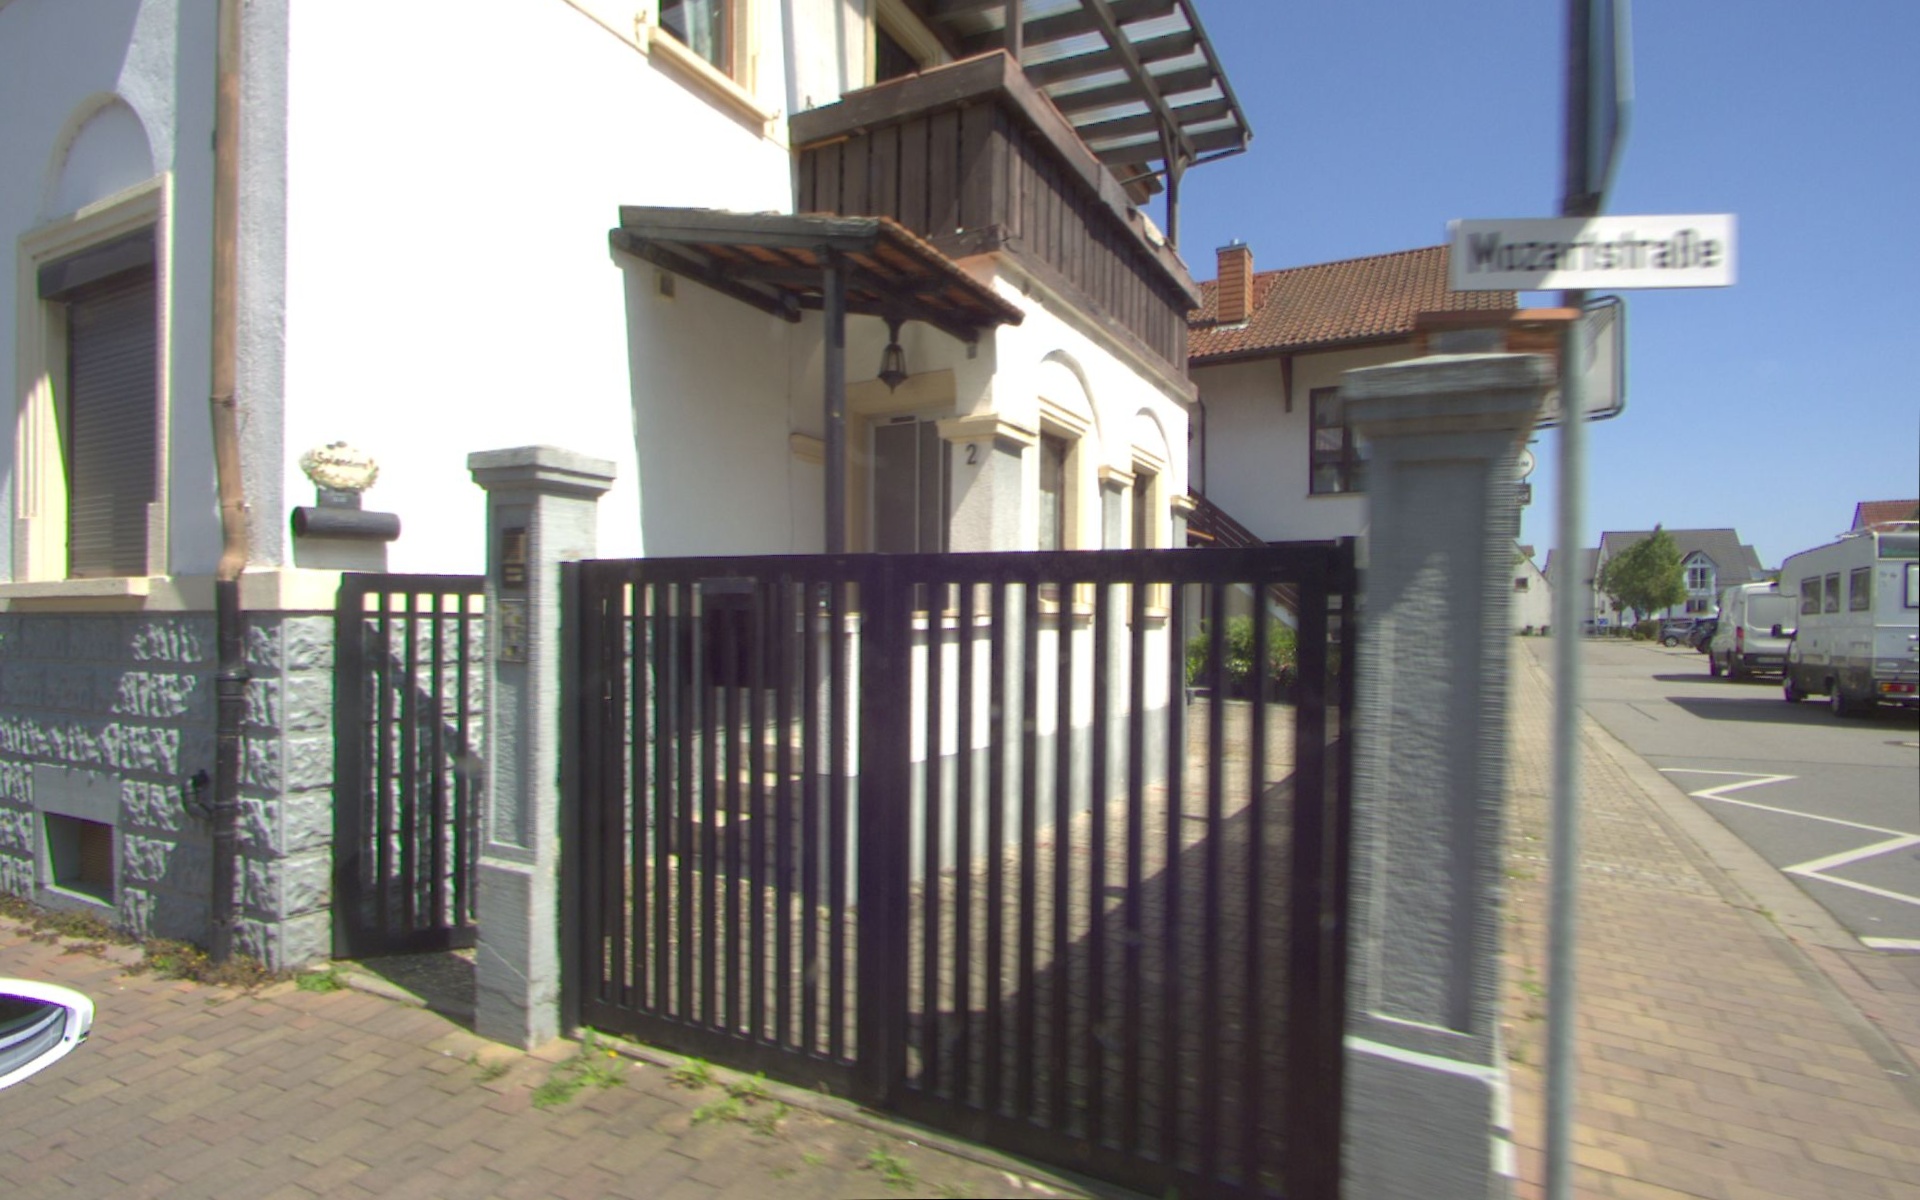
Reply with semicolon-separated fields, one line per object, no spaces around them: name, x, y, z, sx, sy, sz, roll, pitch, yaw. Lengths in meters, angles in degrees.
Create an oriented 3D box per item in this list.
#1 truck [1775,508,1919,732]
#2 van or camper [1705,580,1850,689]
truck;15.279;0.352;16.006;2.507;3.044;6.378;0;-1;30
van or camper;20.764;0.865;25.656;2.037;2.510;4.654;0;-1;29
